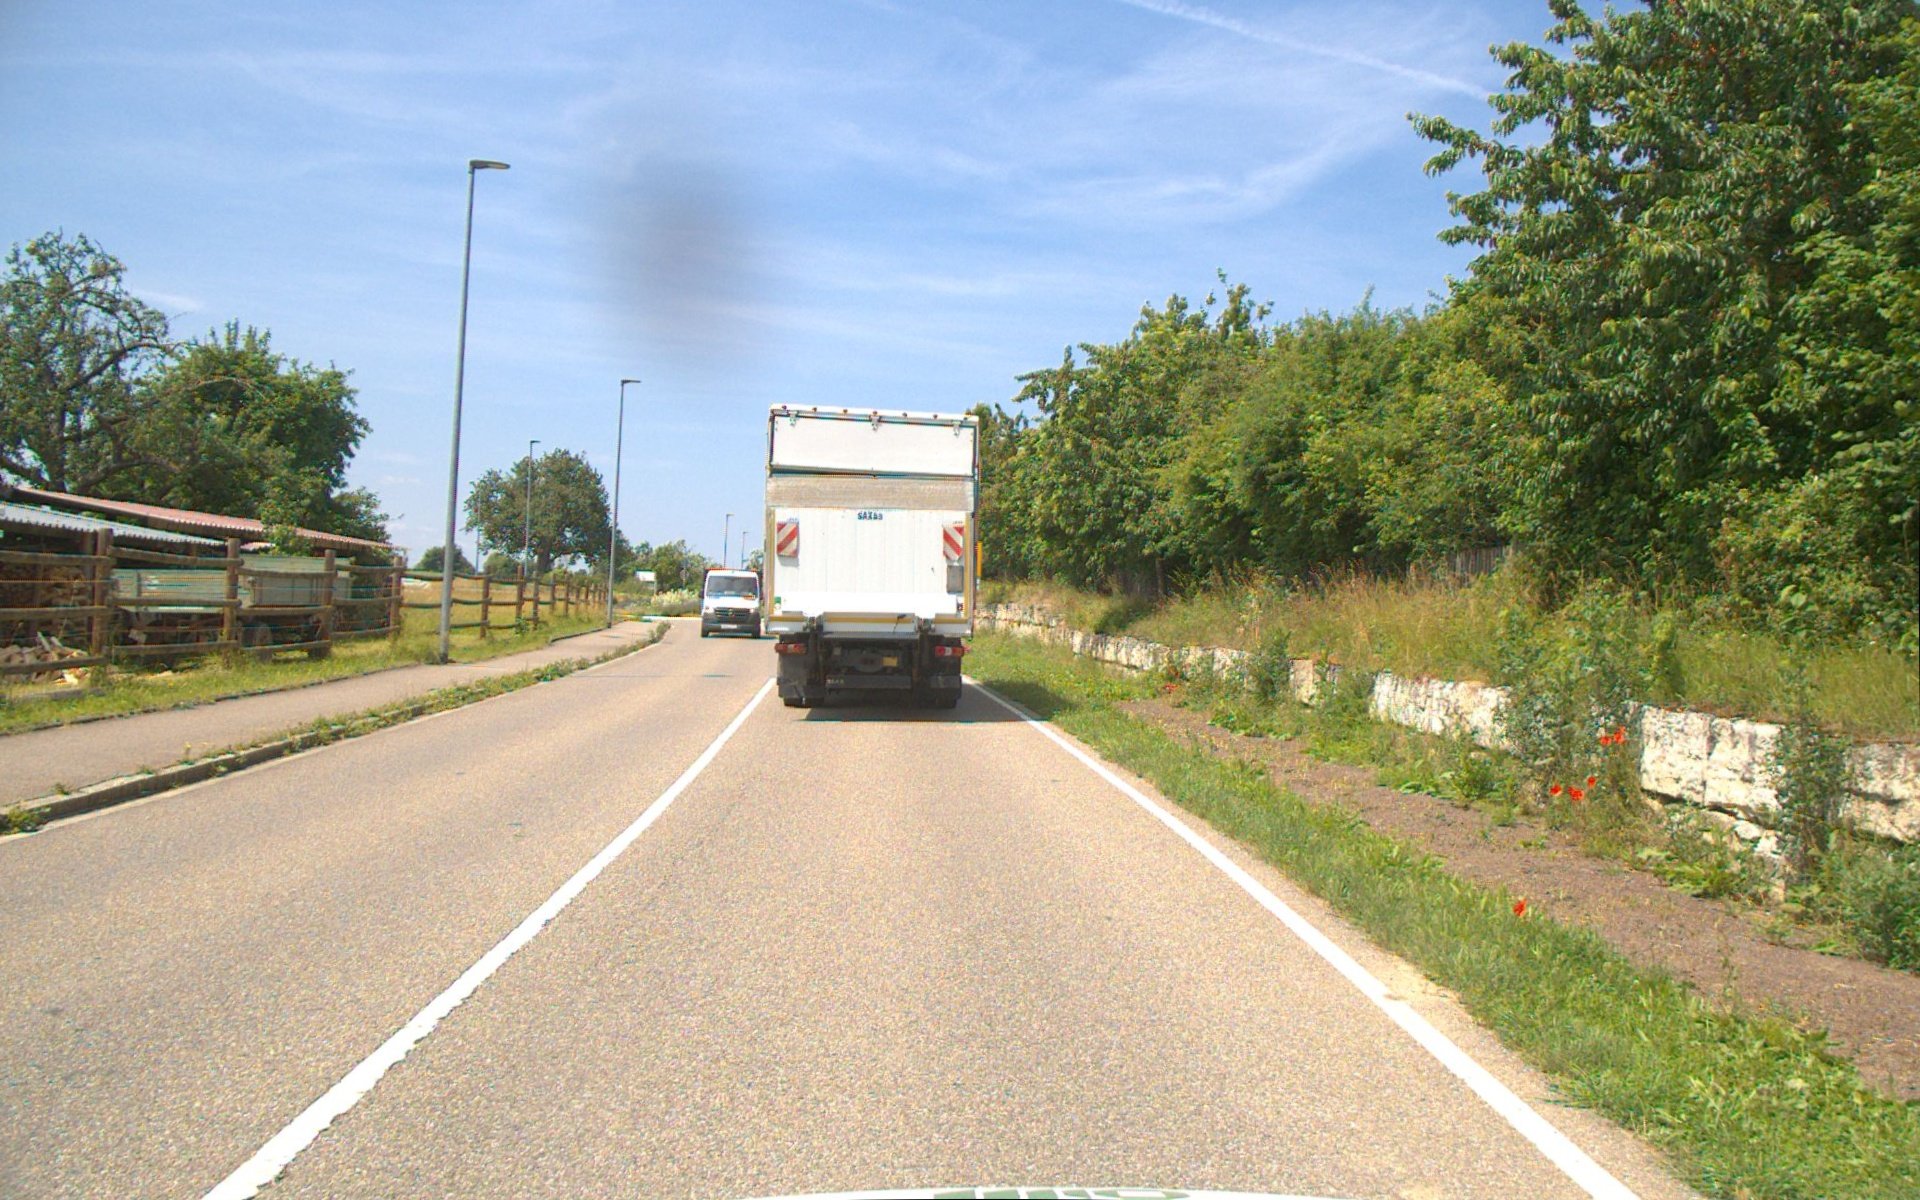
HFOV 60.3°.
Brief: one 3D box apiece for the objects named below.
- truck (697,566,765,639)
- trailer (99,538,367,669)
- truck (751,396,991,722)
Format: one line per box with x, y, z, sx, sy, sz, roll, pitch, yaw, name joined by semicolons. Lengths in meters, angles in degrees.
-7.954;0.093;57.376;2.181;2.333;6.479;1;0;-8;truck
-10.770;0.043;24.983;2.112;1.733;5.024;1;0;-4;trailer
-1.191;-0.468;23.842;2.711;3.735;9.378;1;0;-2;truck
